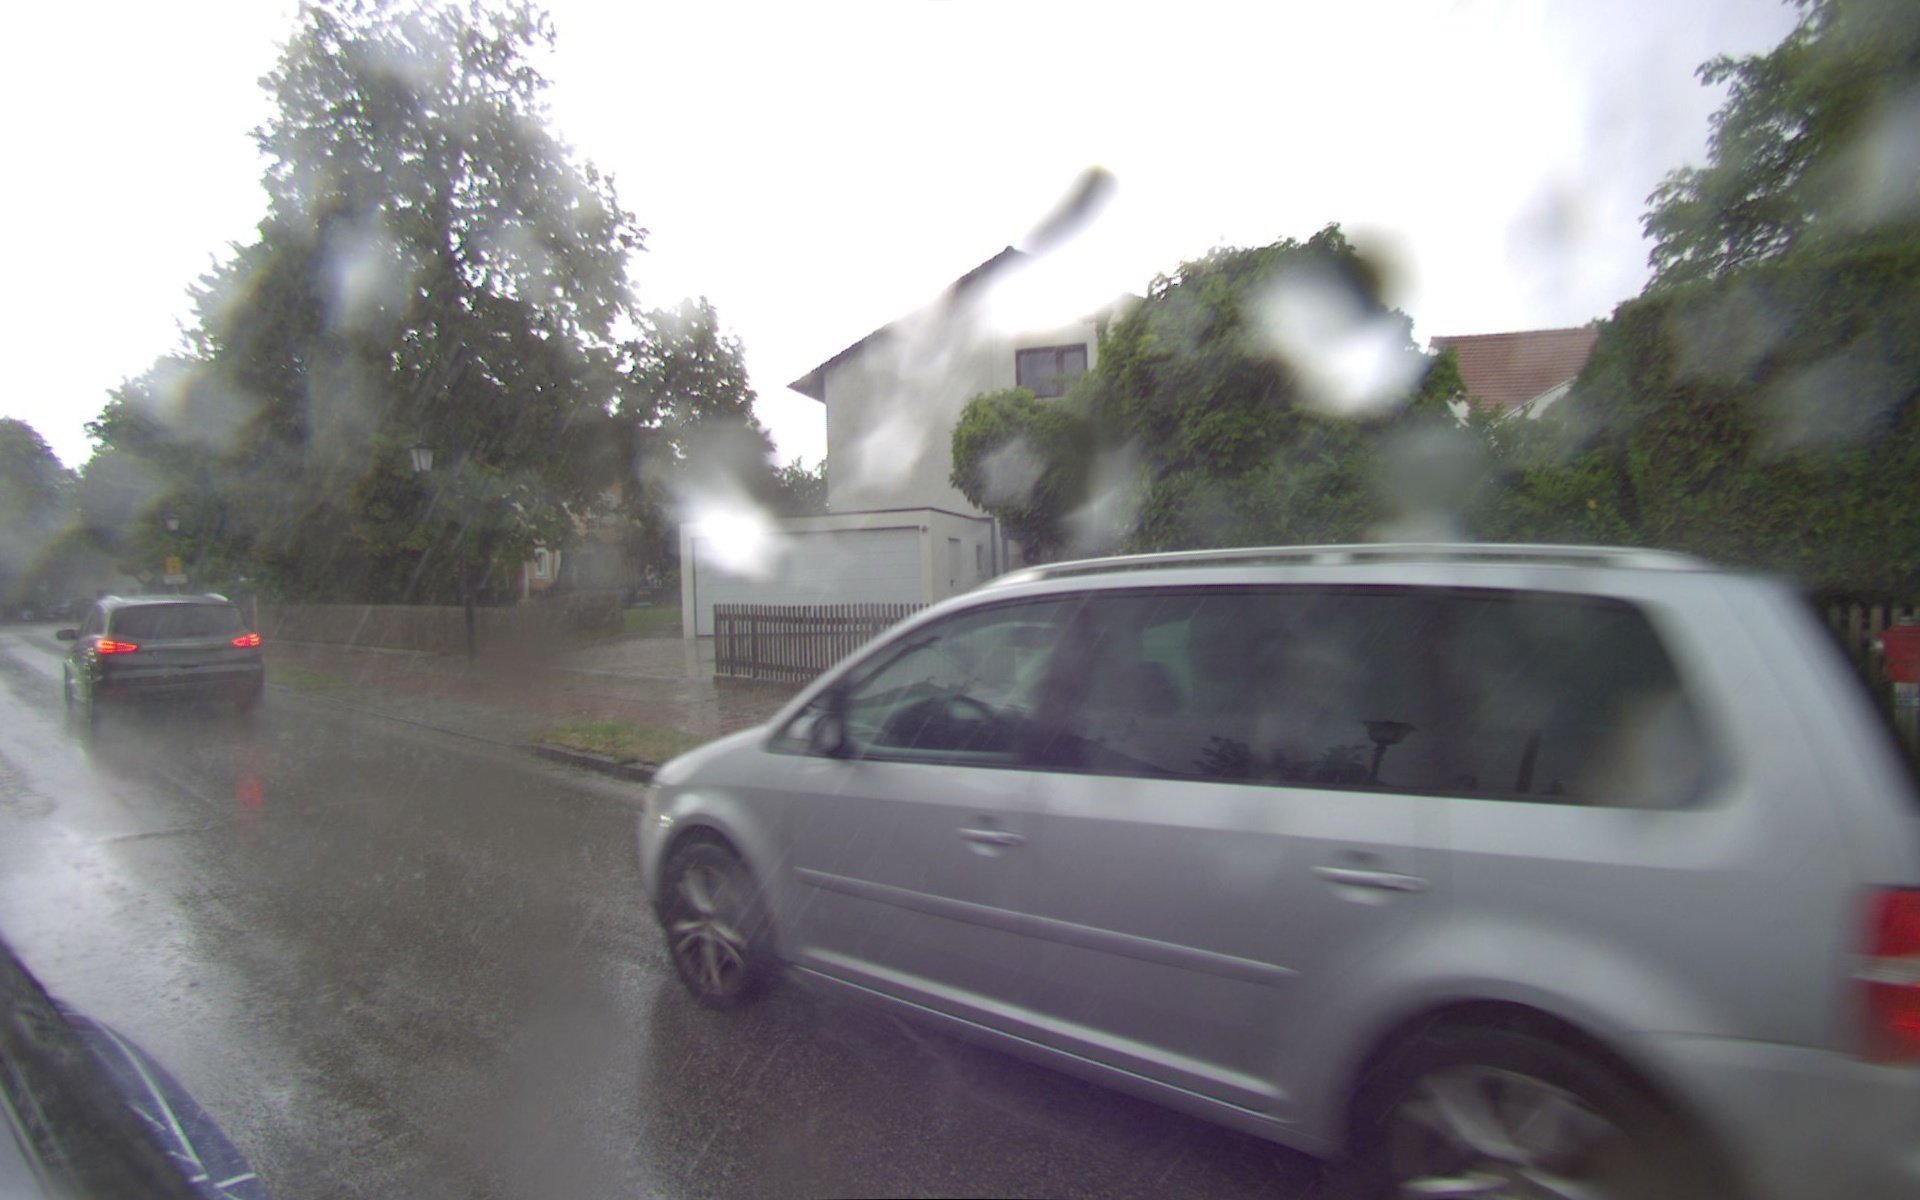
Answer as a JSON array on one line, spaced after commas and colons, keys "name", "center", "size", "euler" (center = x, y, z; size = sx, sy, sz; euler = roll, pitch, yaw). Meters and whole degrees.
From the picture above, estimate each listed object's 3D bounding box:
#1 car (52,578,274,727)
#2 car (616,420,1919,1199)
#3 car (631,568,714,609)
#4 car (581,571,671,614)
[{"name": "car", "center": [-11.214, 0.635, 14.133], "size": [4.193, 1.757, 1.901], "euler": [-1, 0, 44]}, {"name": "car", "center": [0.774, 0.581, 3.319], "size": [3.995, 1.690, 1.736], "euler": [-1, -1, 38]}, {"name": "car", "center": [-14.793, -0.612, 52.208], "size": [3.616, 1.815, 1.837], "euler": [-3, 2, 10]}, {"name": "car", "center": [-16.198, -0.385, 49.211], "size": [3.616, 1.815, 1.837], "euler": [-3, 2, 10]}]
